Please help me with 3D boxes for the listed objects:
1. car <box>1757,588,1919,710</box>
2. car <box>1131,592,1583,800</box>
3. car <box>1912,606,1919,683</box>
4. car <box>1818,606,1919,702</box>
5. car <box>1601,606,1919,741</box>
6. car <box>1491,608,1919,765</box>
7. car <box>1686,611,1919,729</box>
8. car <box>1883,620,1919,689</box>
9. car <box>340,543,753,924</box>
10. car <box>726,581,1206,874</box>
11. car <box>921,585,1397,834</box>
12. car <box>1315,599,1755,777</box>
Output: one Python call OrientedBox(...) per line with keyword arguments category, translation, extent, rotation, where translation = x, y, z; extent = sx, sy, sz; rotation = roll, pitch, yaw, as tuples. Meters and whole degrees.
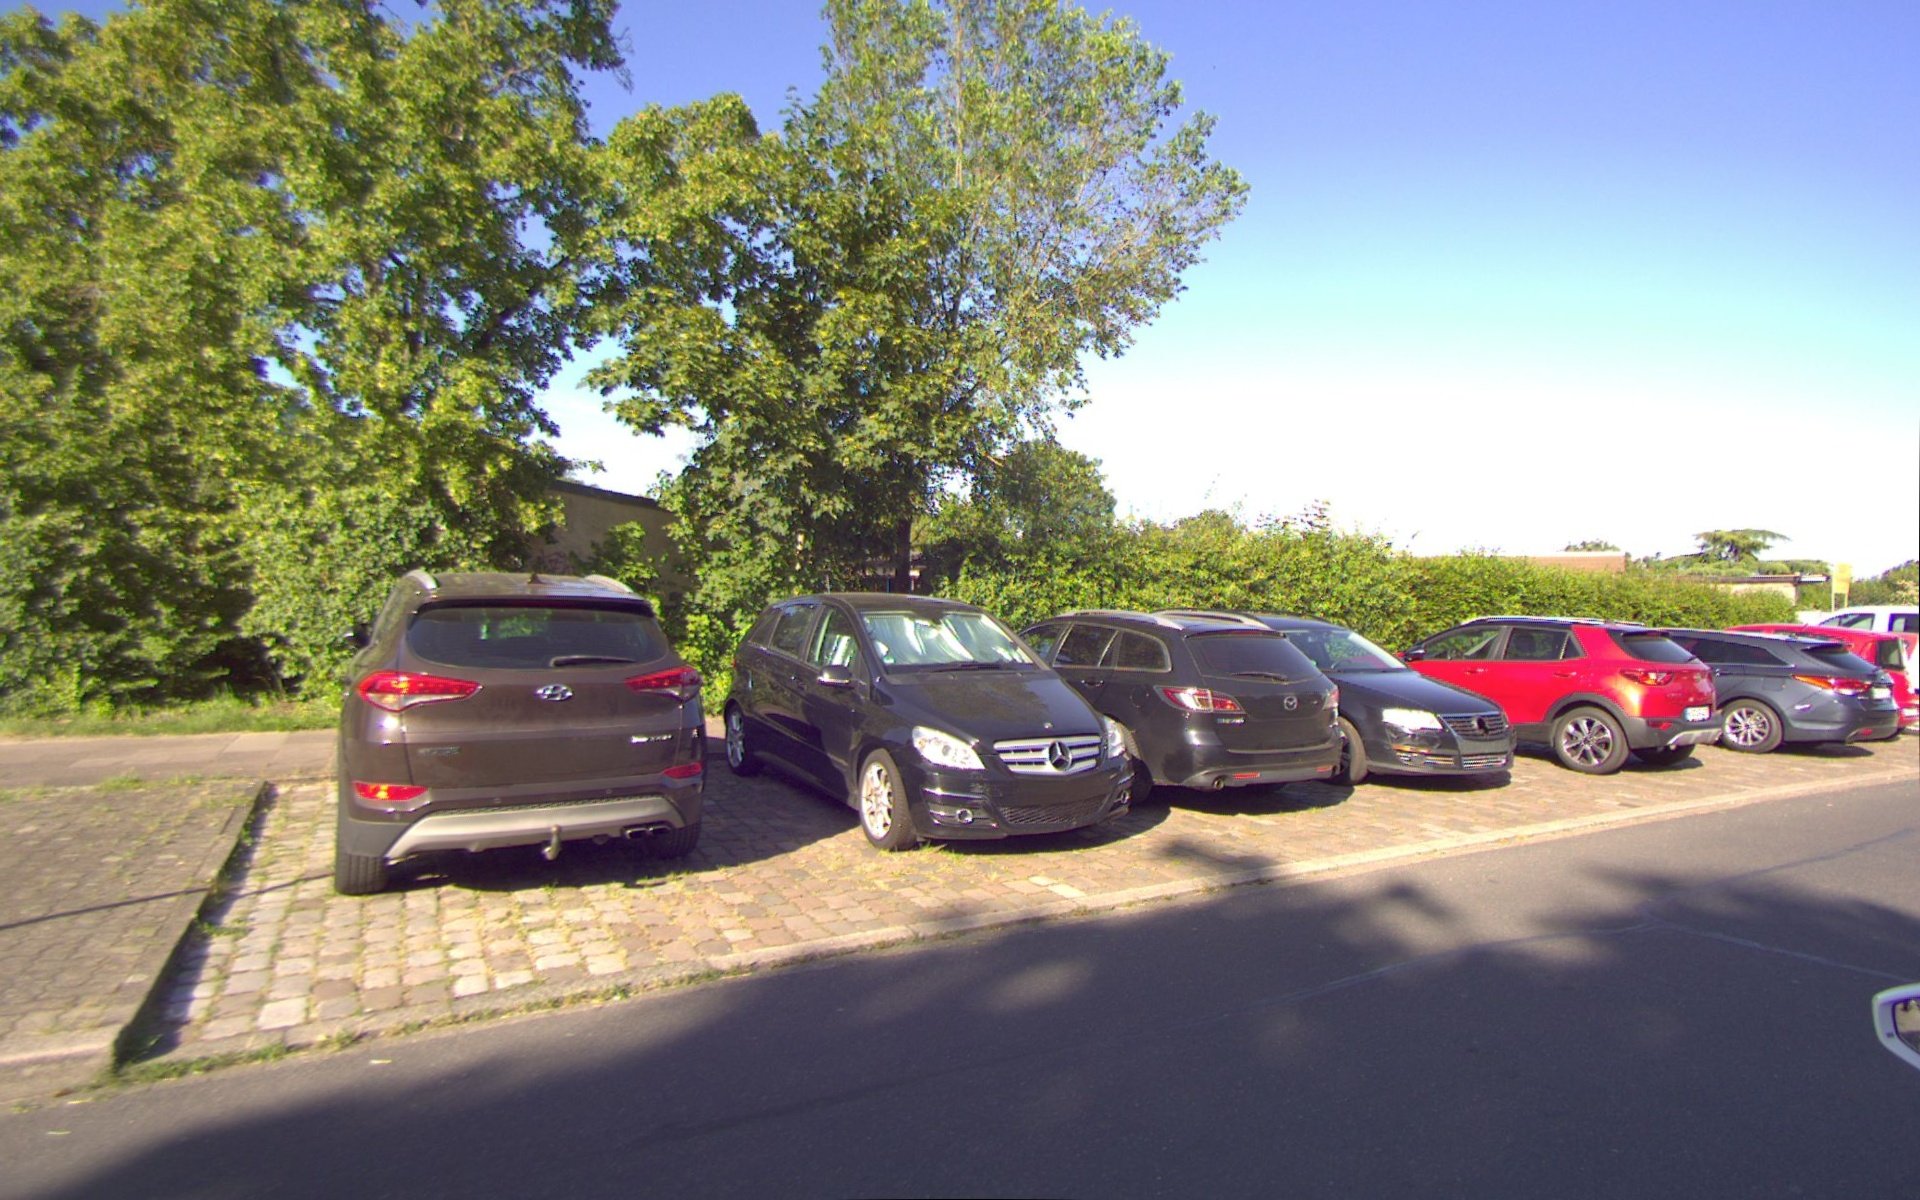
OrientedBox(category="car", translation=(17.098, 0.902, 17.592), extent=(1.978, 2.003, 4.455), rotation=(2, 1, -31))
OrientedBox(category="car", translation=(3.712, 0.790, 10.180), extent=(1.881, 1.533, 4.005), rotation=(3, 1, -26))
OrientedBox(category="car", translation=(26.486, 1.274, 24.214), extent=(2.060, 1.946, 4.759), rotation=(2, 1, -34))
OrientedBox(category="car", translation=(19.177, 1.108, 18.950), extent=(1.862, 1.728, 4.130), rotation=(2, 1, -30))
OrientedBox(category="car", translation=(12.060, 0.985, 15.103), extent=(1.859, 1.588, 3.584), rotation=(1, 2, -30))
OrientedBox(category="car", translation=(9.716, 0.966, 13.275), extent=(1.727, 1.499, 4.521), rotation=(1, 2, -30))
OrientedBox(category="car", translation=(14.287, 1.074, 16.304), extent=(1.830, 1.588, 3.584), rotation=(1, 2, -30))
OrientedBox(category="car", translation=(24.018, 1.387, 22.912), extent=(1.862, 1.604, 3.966), rotation=(2, 1, -30))
OrientedBox(category="car", translation=(-3.009, 0.535, 6.670), extent=(1.826, 1.678, 4.163), rotation=(2, 1, -32))
OrientedBox(category="car", translation=(-0.244, 0.705, 7.684), extent=(1.812, 1.553, 3.965), rotation=(2, 1, -32))
OrientedBox(category="car", translation=(1.457, 0.737, 8.866), extent=(1.792, 1.533, 4.070), rotation=(2, 1, -32))
OrientedBox(category="car", translation=(6.264, 0.826, 11.428), extent=(1.770, 1.499, 3.967), rotation=(1, 2, -30))
